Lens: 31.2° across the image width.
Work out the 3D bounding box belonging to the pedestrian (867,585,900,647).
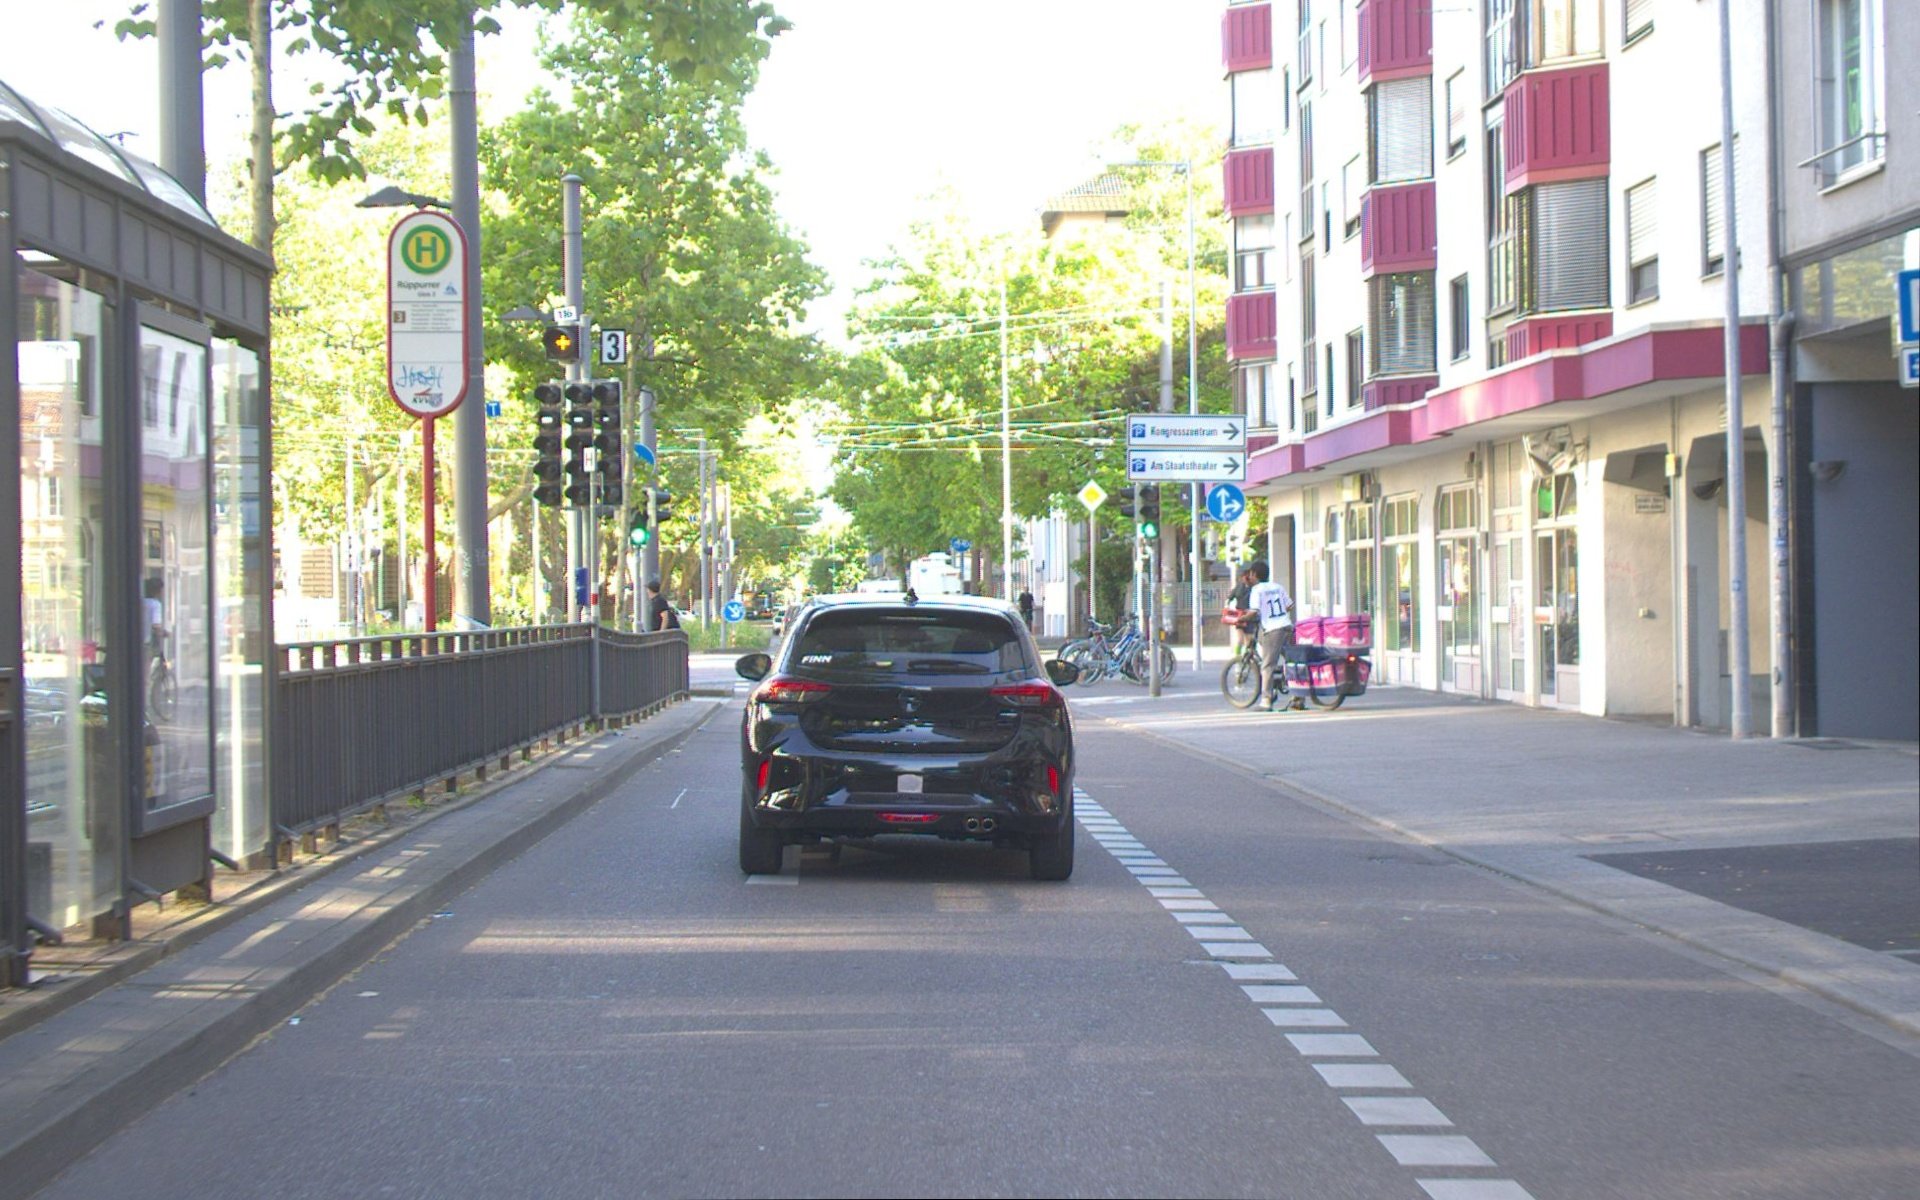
[{"bbox_3d":[-2.535,0.524,113.578,1.036,2.017,1.212,0,-1,-3],"label":"pedestrian"}]

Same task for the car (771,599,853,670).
[{"bbox_3d":[-3.591,0.833,84.179,1.832,1.617,4.284,2,-1,-1],"label":"car"}]

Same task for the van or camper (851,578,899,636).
[{"bbox_3d":[-4.569,0.406,186.107,2.486,2.983,5.434,1,-1,-1],"label":"van or camper"}]

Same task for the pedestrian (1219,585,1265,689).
[{"bbox_3d":[5.062,0.666,61.737,0.722,1.851,0.801,-1,-1,-2],"label":"pedestrian"}]

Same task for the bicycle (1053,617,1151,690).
[{"bbox_3d":[2.378,0.889,57.563,1.623,1.195,0.496,-1,-1,3],"label":"bicycle"}]

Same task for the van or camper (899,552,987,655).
[{"bbox_3d":[-0.608,0.152,112.628,2.375,3.115,7.551,-3,0,-3],"label":"van or camper"}]

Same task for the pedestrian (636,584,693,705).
[{"bbox_3d":[-4.275,0.639,49.737,0.734,1.741,0.712,0,0,3],"label":"pedestrian"}]

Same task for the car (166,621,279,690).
[{"bbox_3d":[-21.360,1.581,99.720,1.994,1.941,4.423,0,0,5],"label":"car"}]

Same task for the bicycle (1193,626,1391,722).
[{"bbox_3d":[4.204,0.933,43.731,0.960,1.179,2.597,0,-1,-39],"label":"bicycle"}]

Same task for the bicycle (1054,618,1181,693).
[{"bbox_3d":[2.567,0.900,56.121,1.976,1.195,0.591,-1,-1,-6],"label":"bicycle"}]

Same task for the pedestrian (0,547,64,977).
[{"bbox_3d":[-3.260,0.500,10.919,0.626,1.315,0.801,0,0,-1],"label":"pedestrian"}]

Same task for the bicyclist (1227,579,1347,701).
[{"bbox_3d":[4.163,0.504,43.778,1.057,1.535,1.078,0,-1,-39],"label":"bicyclist"}]

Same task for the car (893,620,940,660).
[{"bbox_3d":[-1.792,1.619,139.402,1.790,1.505,3.874,-2,0,-2],"label":"car"}]

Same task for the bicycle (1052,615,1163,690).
[{"bbox_3d":[2.443,0.871,56.992,1.831,1.217,0.496,-1,-1,2],"label":"bicycle"}]

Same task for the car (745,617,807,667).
[{"bbox_3d":[-6.222,1.418,116.481,1.993,1.622,4.470,2,-1,-3],"label":"car"}]

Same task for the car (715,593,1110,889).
[{"bbox_3d":[-0.268,0.692,18.738,1.905,1.421,4.215,0,0,-1],"label":"car"}]

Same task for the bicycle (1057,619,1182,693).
[{"bbox_3d":[2.570,0.906,55.505,1.939,1.166,0.572,-1,-1,-4],"label":"bicycle"}]

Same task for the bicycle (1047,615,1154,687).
[{"bbox_3d":[2.386,0.861,58.317,1.802,1.195,0.545,-1,-2,3],"label":"bicycle"}]
